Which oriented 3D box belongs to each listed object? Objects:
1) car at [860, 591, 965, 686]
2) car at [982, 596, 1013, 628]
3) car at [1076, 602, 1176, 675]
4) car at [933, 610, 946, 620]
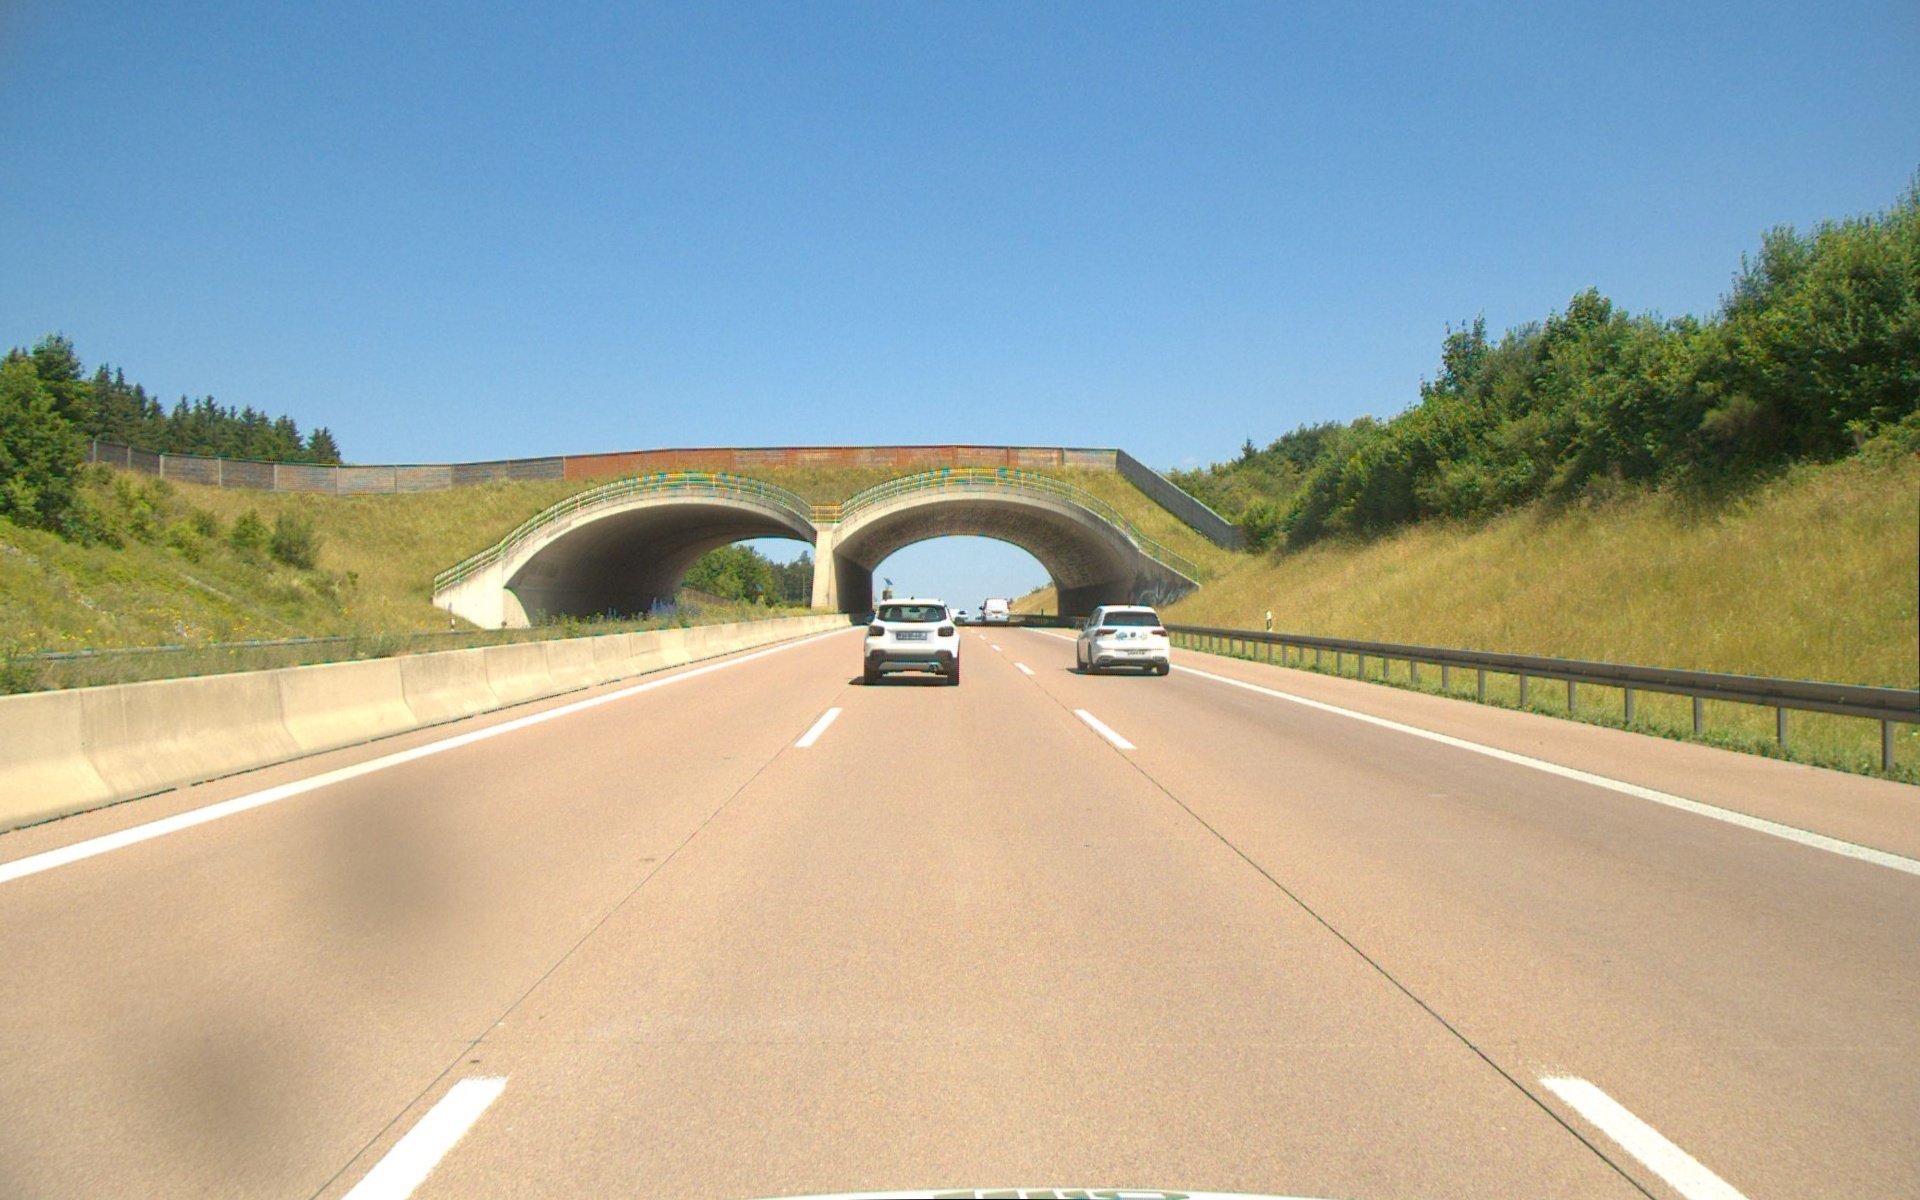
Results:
[{"bbox_3d":[-0.872,0.661,31.462,1.841,1.635,4.833,0,1,-1],"label":"car"},{"bbox_3d":[2.614,0.829,115.873,2.067,2.089,4.001,0,1,1],"label":"car"},{"bbox_3d":[3.604,0.799,36.457,1.852,1.422,4.001,1,1,1],"label":"car"},{"bbox_3d":[-3.118,2.241,250.321,1.852,1.489,4.000,1,1,-1],"label":"car"}]
